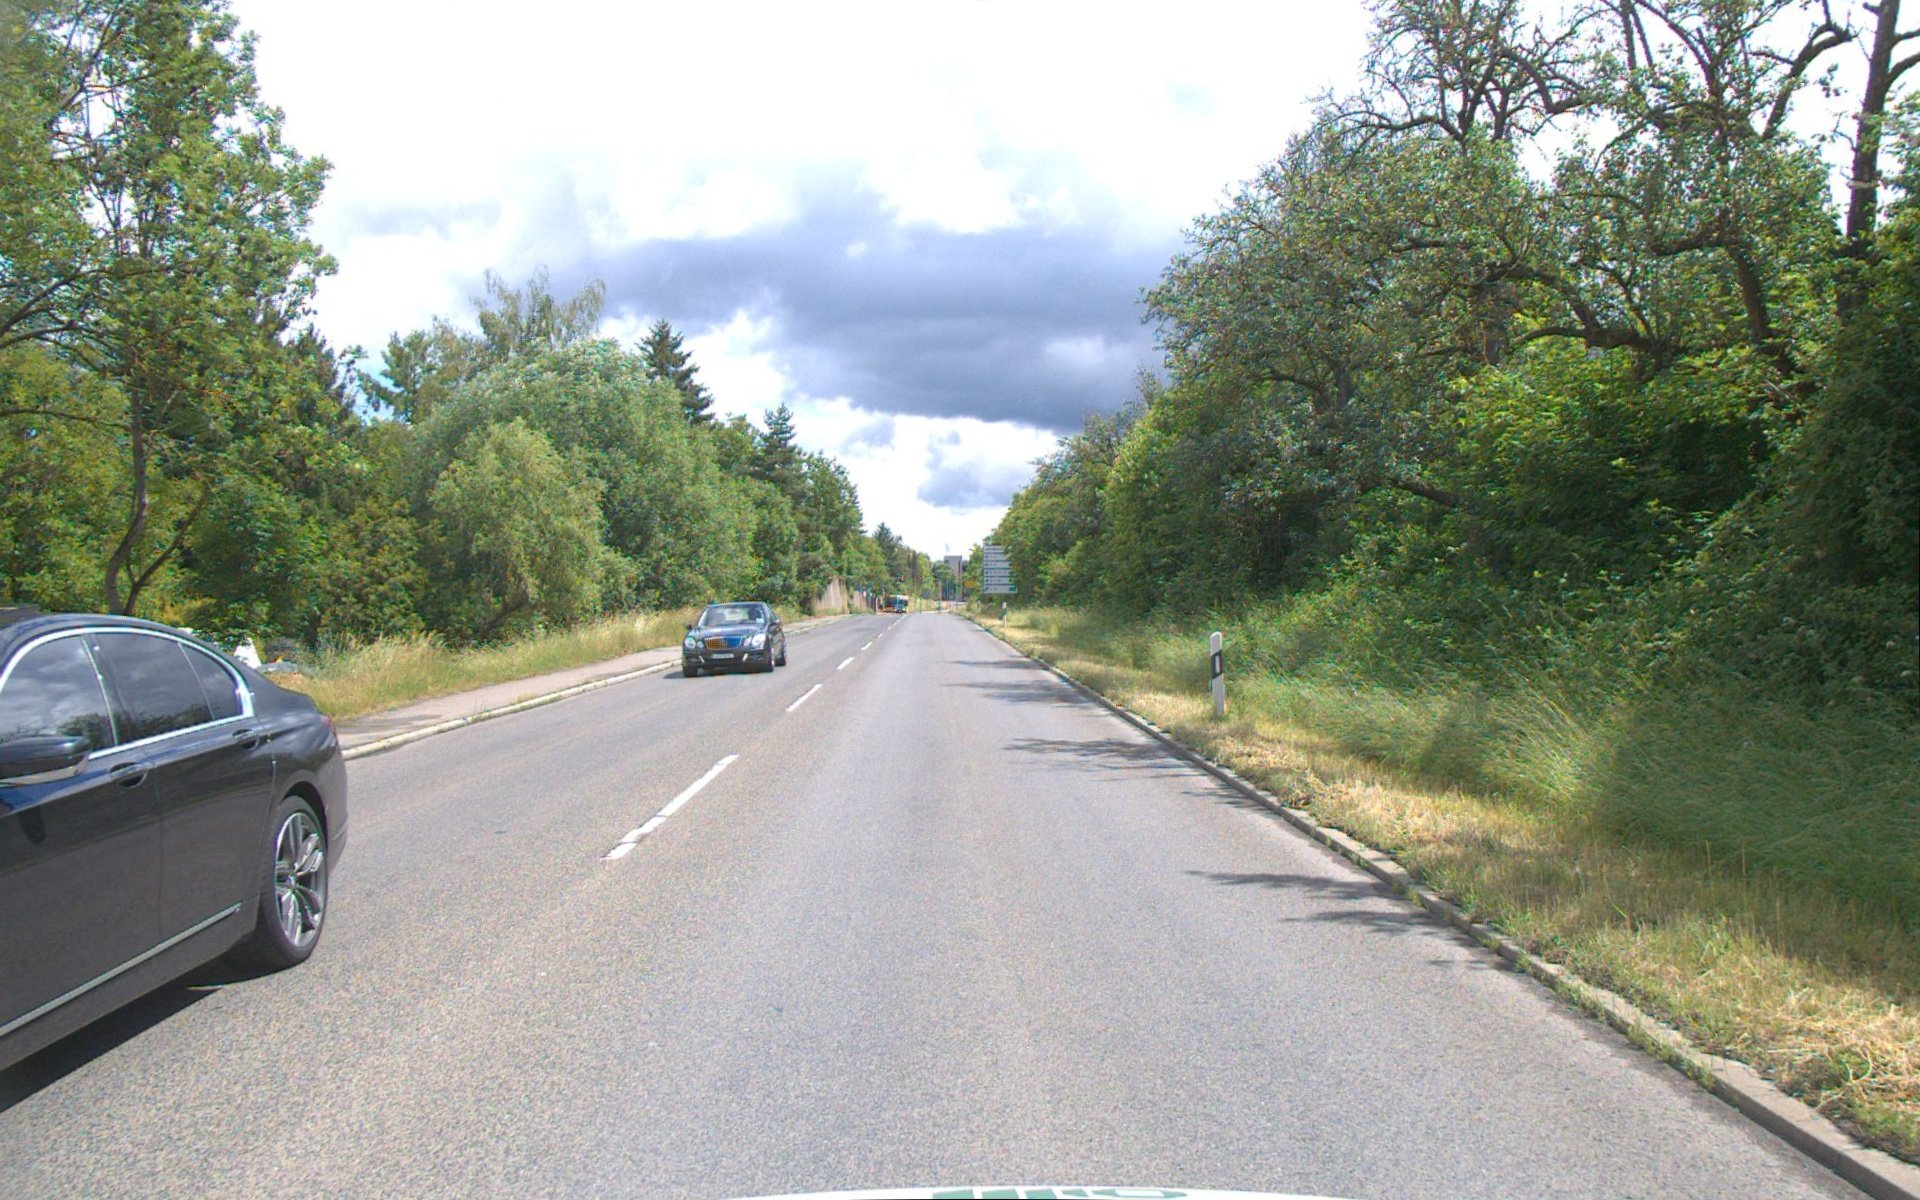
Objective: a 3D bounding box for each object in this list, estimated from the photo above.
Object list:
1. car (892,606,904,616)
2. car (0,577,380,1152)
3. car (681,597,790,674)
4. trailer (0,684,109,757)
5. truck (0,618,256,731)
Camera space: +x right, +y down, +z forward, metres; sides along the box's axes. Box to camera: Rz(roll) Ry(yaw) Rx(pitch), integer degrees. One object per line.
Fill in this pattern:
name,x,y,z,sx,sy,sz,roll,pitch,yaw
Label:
car,-9.380,1.628,250.282,1.716,1.489,3.999,-2,0,-1
car,-3.521,0.738,5.171,1.846,1.517,4.715,-3,1,-2
car,-4.581,0.678,34.391,1.749,1.357,4.620,-3,1,-2
trailer,-23.499,3.011,40.869,3.902,1.583,2.002,-3,0,8
truck,-22.375,1.980,44.464,6.071,2.654,2.002,-3,0,8
